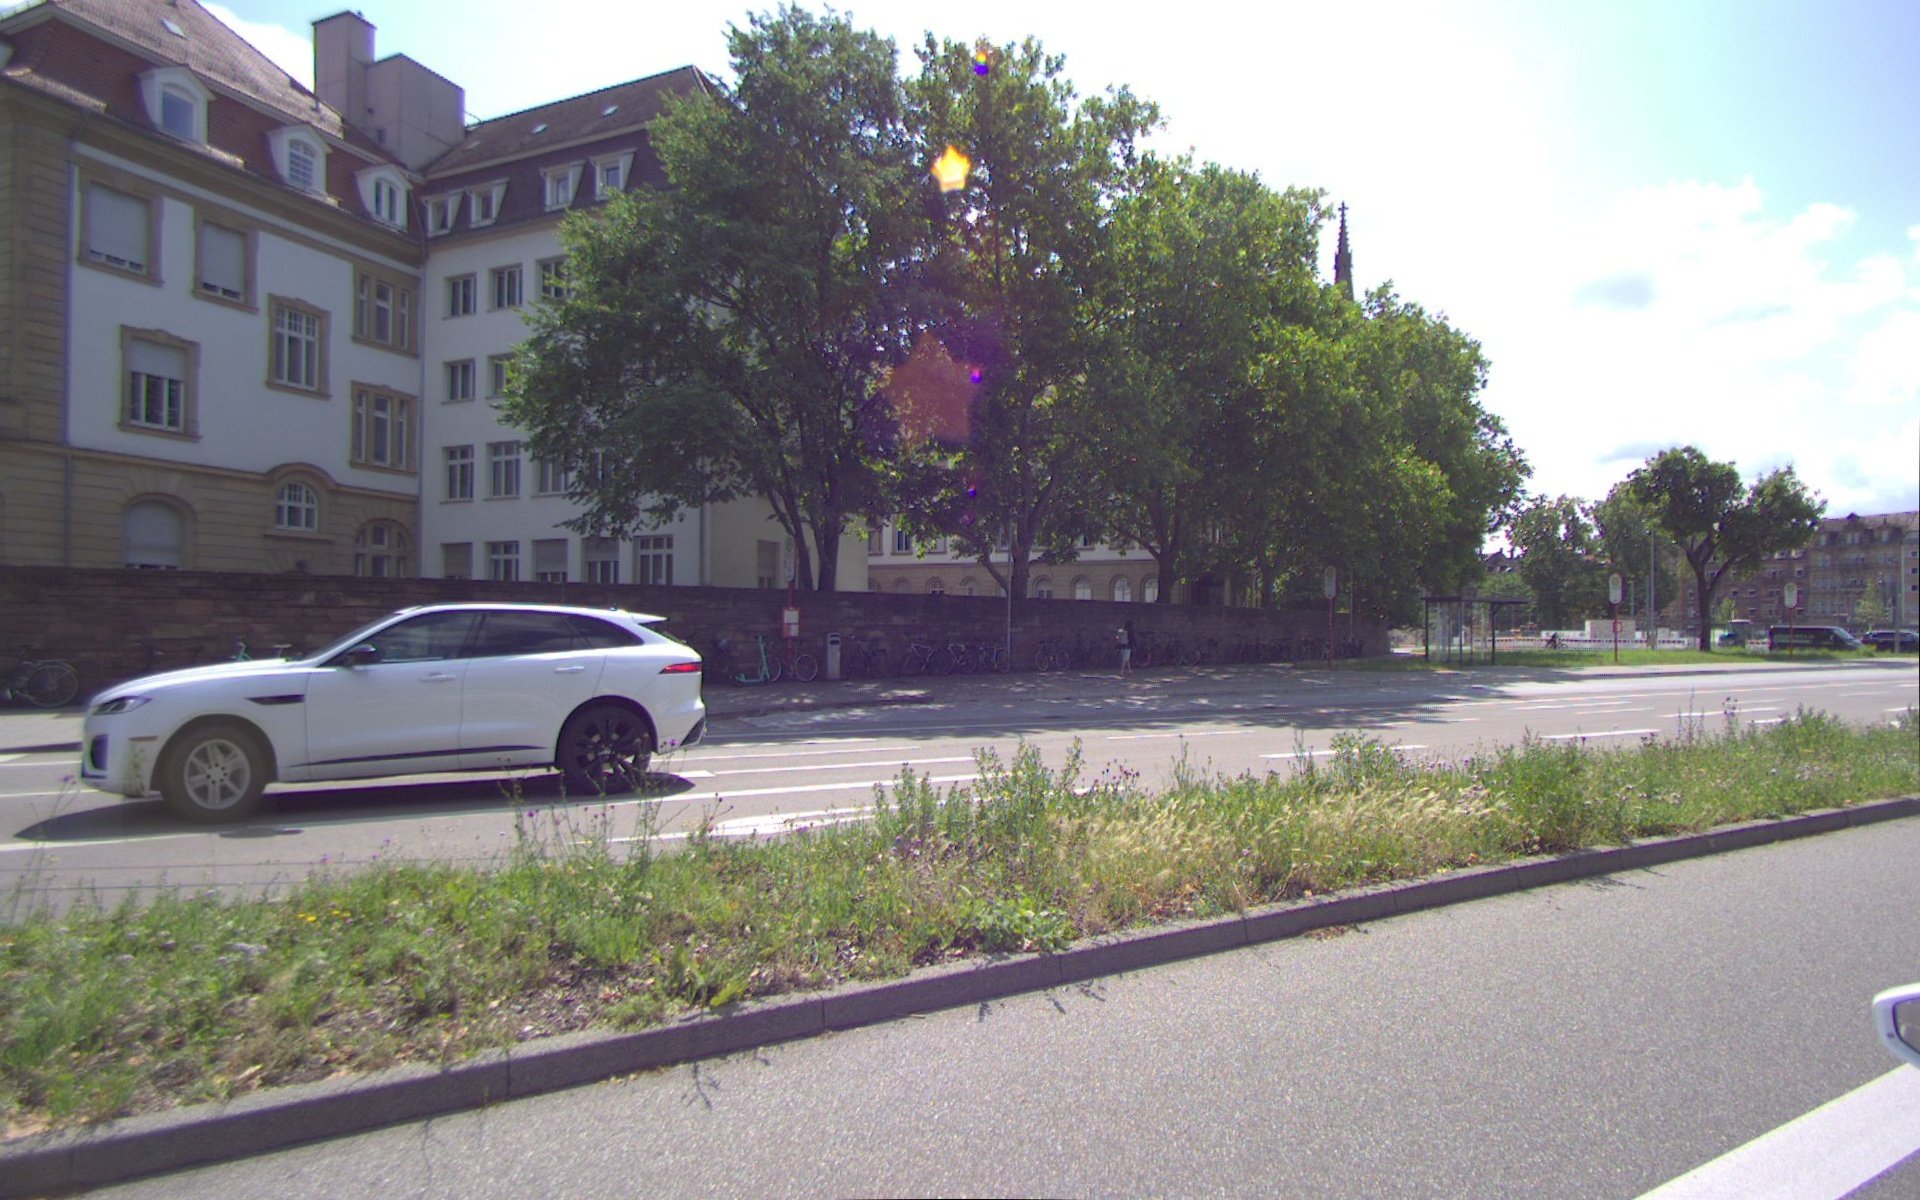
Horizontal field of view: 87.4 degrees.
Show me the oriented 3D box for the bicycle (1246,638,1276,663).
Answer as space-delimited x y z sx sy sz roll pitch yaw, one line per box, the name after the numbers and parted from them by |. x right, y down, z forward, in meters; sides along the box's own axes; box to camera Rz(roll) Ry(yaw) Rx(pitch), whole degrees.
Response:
12.384 2.072 41.301 0.538 0.964 1.656 0 -1 43 | bicycle

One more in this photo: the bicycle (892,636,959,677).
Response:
-0.936 1.528 27.465 1.935 1.061 0.539 2 -1 -42 | bicycle

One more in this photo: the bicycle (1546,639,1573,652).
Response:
51.117 3.839 85.650 0.542 1.044 1.907 1 -1 -36 | bicycle

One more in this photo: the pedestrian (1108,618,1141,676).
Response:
4.812 1.361 29.336 0.607 1.638 0.754 1 0 39 | pedestrian

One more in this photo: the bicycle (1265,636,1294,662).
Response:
13.542 2.084 42.526 0.538 1.065 1.614 0 -1 43 | bicycle

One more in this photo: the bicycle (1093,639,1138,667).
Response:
5.177 1.753 33.359 1.653 0.914 0.539 2 -2 -42 | bicycle

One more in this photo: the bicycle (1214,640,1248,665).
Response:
10.602 2.047 39.209 0.538 0.914 1.655 0 -1 45 | bicycle

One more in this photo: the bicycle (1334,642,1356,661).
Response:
19.587 2.607 51.036 0.537 0.914 1.658 0 -1 39 | bicycle

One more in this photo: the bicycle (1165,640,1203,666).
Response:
8.150 1.911 36.515 1.655 0.914 0.538 2 -1 -45 | bicycle

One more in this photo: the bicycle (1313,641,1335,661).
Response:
17.473 2.438 48.184 0.446 0.914 1.786 0 -1 39 | bicycle

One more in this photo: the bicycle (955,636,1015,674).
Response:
0.730 1.570 28.848 1.881 1.061 0.539 2 -1 -42 | bicycle

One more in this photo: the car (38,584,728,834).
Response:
-4.653 0.797 8.866 4.717 1.689 2.062 1 -1 -29 | car

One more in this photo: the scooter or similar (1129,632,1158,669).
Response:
6.100 1.655 33.326 0.426 1.199 1.188 0 -1 39 | scooter or similar

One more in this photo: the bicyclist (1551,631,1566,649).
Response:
51.082 3.412 85.707 0.546 1.493 0.961 1 -1 -36 | bicyclist

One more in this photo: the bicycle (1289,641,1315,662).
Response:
15.457 2.300 45.357 0.537 0.914 1.658 0 -1 39 | bicycle

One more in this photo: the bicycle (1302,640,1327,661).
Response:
16.484 2.343 46.702 0.537 0.914 1.658 0 -1 39 | bicycle

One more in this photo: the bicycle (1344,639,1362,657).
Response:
20.672 2.535 52.818 0.536 0.914 1.660 0 -1 35 | bicycle

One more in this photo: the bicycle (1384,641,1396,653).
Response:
33.323 3.640 77.931 0.534 0.914 1.666 1 -1 12 | bicycle

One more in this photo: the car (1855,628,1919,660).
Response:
64.234 3.008 68.407 2.078 2.040 4.601 2 -2 -33 | car

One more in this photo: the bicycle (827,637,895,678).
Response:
-2.556 1.479 26.073 1.786 1.021 0.476 2 -1 -39 | bicycle

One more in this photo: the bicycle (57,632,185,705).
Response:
-13.903 1.115 16.686 1.578 1.167 0.409 1 -1 -36 | bicycle

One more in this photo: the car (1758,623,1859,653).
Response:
58.019 2.549 68.812 1.908 1.904 4.981 1 -1 -32 | car

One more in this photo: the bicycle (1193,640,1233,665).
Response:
9.491 1.973 37.655 1.648 0.914 0.499 1 -1 -34 | bicycle

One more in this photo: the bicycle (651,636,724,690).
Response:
-6.180 1.420 22.822 0.525 1.167 1.587 0 -1 38 | bicycle

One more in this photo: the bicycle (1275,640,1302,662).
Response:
14.394 2.228 44.006 0.537 0.914 1.658 0 -1 39 | bicycle

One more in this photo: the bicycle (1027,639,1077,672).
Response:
2.805 1.669 30.659 1.653 0.962 0.539 2 -1 -42 | bicycle

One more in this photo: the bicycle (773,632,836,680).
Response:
-3.856 1.380 24.953 1.582 1.158 0.428 2 -1 -42 | bicycle

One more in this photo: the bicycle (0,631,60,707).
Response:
-15.189 1.074 15.715 1.580 1.167 0.616 1 -1 -38 | bicycle

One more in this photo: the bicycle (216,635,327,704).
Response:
-12.280 1.208 17.961 0.396 1.167 1.588 0 -1 37 | bicycle

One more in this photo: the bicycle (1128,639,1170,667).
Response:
6.536 1.819 34.689 1.653 0.914 0.539 2 -1 -42 | bicycle

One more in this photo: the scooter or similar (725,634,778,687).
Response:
-4.809 1.383 23.176 0.426 1.167 1.188 0 -1 39 | scooter or similar

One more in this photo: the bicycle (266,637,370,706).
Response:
-11.571 1.270 18.147 0.395 1.167 1.592 0 -1 27 | bicycle
